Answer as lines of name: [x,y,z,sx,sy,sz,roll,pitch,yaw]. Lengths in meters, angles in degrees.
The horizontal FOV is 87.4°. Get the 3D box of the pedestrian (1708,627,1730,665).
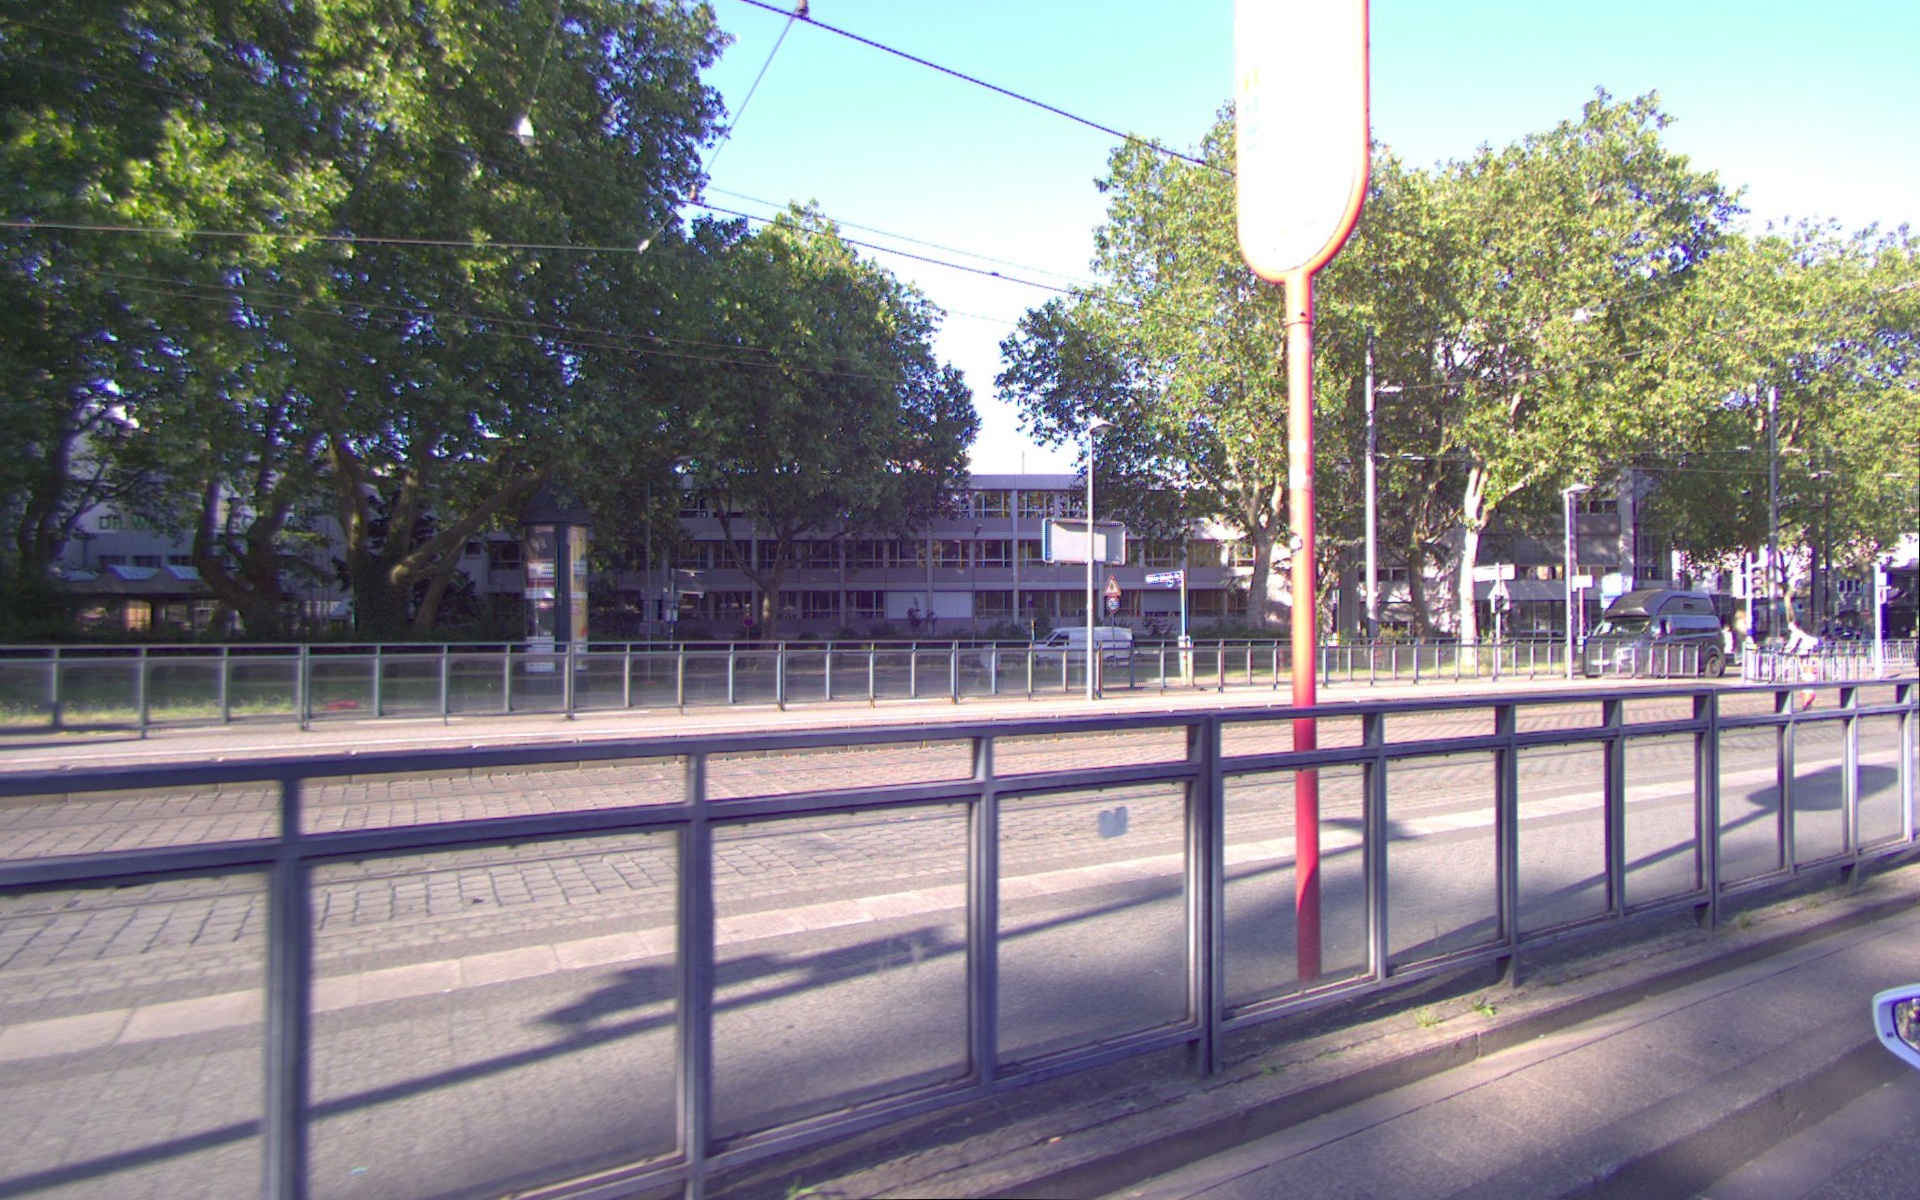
pedestrian: [31.154,1.884,41.230,0.669,1.572,0.533,1,-1,-30]

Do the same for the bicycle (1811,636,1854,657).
bicycle: [49.812,2.649,57.367,0.494,1.122,1.788,1,-1,-27]

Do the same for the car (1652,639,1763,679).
car: [24.741,1.945,33.262,2.881,1.178,2.056,2,-1,-32]

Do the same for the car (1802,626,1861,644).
car: [77.505,3.116,89.393,3.925,1.530,1.798,0,-1,-6]

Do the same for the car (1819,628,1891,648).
car: [69.814,2.941,78.460,1.767,1.530,3.994,1,-1,-9]

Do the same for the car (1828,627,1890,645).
car: [77.498,3.074,86.608,3.925,1.530,1.798,0,-1,-6]

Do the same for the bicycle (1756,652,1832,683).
bicycle: [23.020,1.855,27.747,1.584,0.827,0.527,0,-1,6]

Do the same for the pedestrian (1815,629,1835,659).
pedestrian: [49.340,2.520,57.294,0.642,1.683,0.646,1,-1,-27]

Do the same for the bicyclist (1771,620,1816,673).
bicyclist: [23.025,1.277,27.754,0.786,1.433,0.527,0,-1,6]

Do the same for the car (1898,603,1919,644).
car: [77.821,1.881,78.961,6.413,3.207,2.501,0,-1,-7]

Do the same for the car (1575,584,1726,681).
car: [21.439,1.017,31.143,4.976,2.779,2.055,2,-1,-33]

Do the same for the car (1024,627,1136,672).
car: [6.414,2.644,53.963,5.616,2.366,2.156,1,-1,-7]
